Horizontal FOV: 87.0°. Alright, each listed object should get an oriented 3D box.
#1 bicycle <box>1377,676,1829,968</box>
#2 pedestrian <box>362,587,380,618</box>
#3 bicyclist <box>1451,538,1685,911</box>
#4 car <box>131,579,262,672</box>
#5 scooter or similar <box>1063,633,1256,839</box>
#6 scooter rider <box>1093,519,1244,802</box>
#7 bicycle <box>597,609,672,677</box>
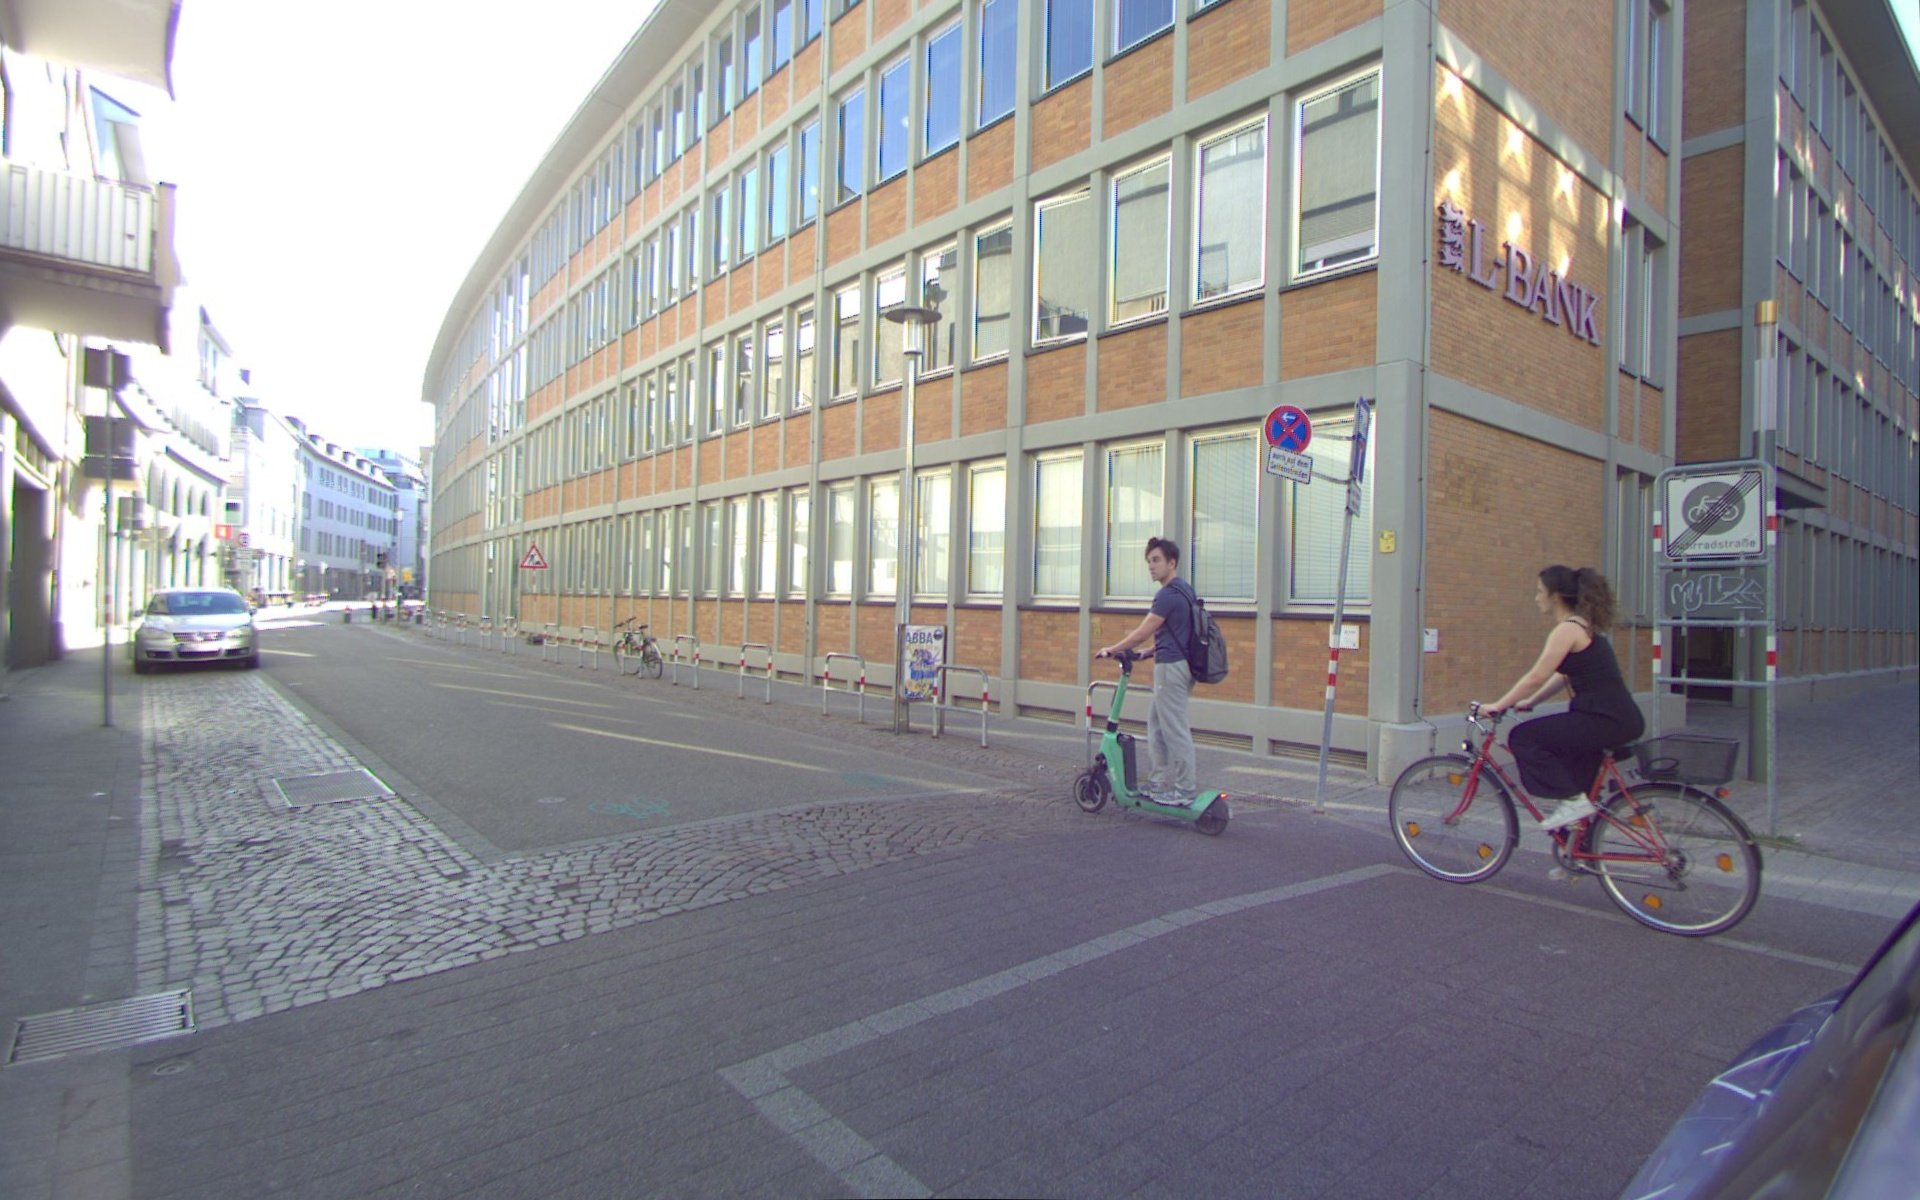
[{"bbox_3d":[3.094,0.975,5.041,0.580,1.065,1.798,4,-2,-39],"label":"bicycle"},{"bbox_3d":[-28.635,0.129,49.182,0.647,1.459,0.595,1,0,-37],"label":"pedestrian"},{"bbox_3d":[3.055,0.572,5.103,0.609,1.688,0.823,5,-3,-39],"label":"bicyclist"},{"bbox_3d":[-13.874,0.375,18.381,1.739,1.488,3.810,-1,2,-38],"label":"car"},{"bbox_3d":[1.321,0.867,6.867,0.331,1.201,1.276,5,-1,-43],"label":"scooter or similar"},{"bbox_3d":[1.385,0.367,6.736,0.638,1.748,0.700,2,0,-43],"label":"scooter rider"},{"bbox_3d":[-5.975,0.752,18.509,0.627,1.130,1.928,1,0,-40],"label":"bicycle"}]
